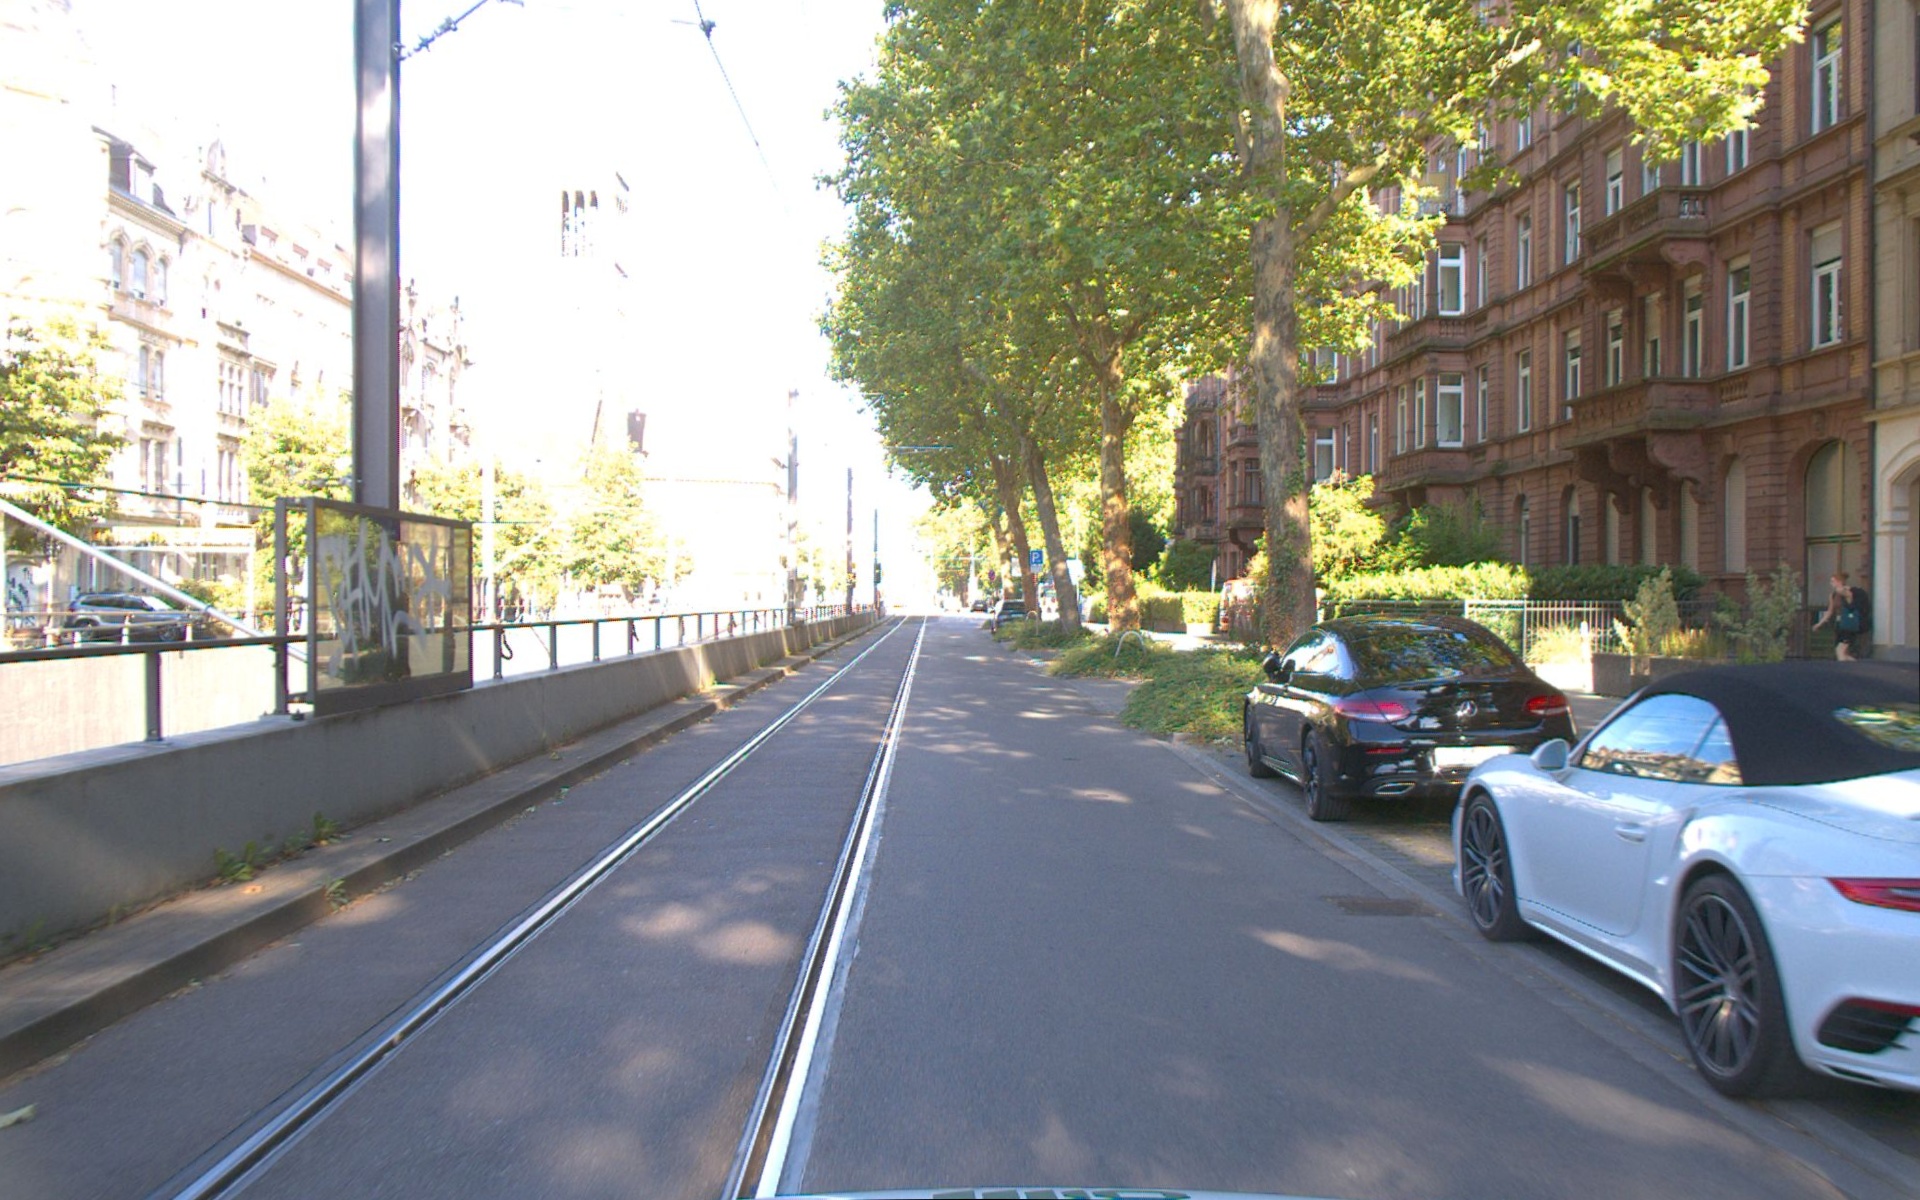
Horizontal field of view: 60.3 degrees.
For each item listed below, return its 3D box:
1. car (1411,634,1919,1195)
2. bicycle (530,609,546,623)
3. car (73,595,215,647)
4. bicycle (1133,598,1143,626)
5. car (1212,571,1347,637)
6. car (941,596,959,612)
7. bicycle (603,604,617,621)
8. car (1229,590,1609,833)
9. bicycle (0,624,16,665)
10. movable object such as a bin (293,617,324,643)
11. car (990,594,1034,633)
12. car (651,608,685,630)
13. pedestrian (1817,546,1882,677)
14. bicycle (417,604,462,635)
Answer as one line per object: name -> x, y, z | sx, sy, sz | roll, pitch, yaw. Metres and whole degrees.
car -> 3.168, 0.846, 6.248 | 1.793, 1.350, 3.999 | 0, 0, -1
bicycle -> -25.612, 0.949, 100.482 | 0.408, 0.814, 1.888 | 2, 0, 2
car -> -27.693, 0.708, 56.240 | 3.914, 1.653, 1.821 | 1, 0, -10
bicycle -> 8.266, 0.545, 76.721 | 0.330, 1.271, 1.767 | 2, 0, 3
car -> 10.836, 0.127, 56.296 | 4.093, 2.049, 1.999 | -2, 0, -3
car -> -1.009, 0.374, 168.246 | 1.710, 1.487, 3.643 | 3, 0, -2
bicycle -> -22.511, 0.804, 106.362 | 0.479, 1.040, 1.878 | 3, 0, -24
car -> 3.345, 0.719, 13.051 | 1.696, 1.563, 4.805 | 0, 0, 0
bicycle -> -24.645, 1.156, 42.642 | 0.449, 1.023, 1.923 | 3, -3, -31
movable object such as a bin -> -25.331, 1.172, 64.326 | 0.879, 0.935, 0.783 | 3, 0, -7
car -> 2.193, 0.564, 70.520 | 1.584, 1.615, 4.415 | -1, 0, -2
car -> -22.300, 1.423, 126.587 | 1.680, 1.582, 4.510 | 3, 0, 1
pedestrian -> 14.090, 0.182, 26.209 | 0.659, 2.049, 0.633 | 0, 0, -2
bicycle -> -21.834, 0.830, 69.433 | 1.694, 1.302, 0.600 | 0, 0, 5
